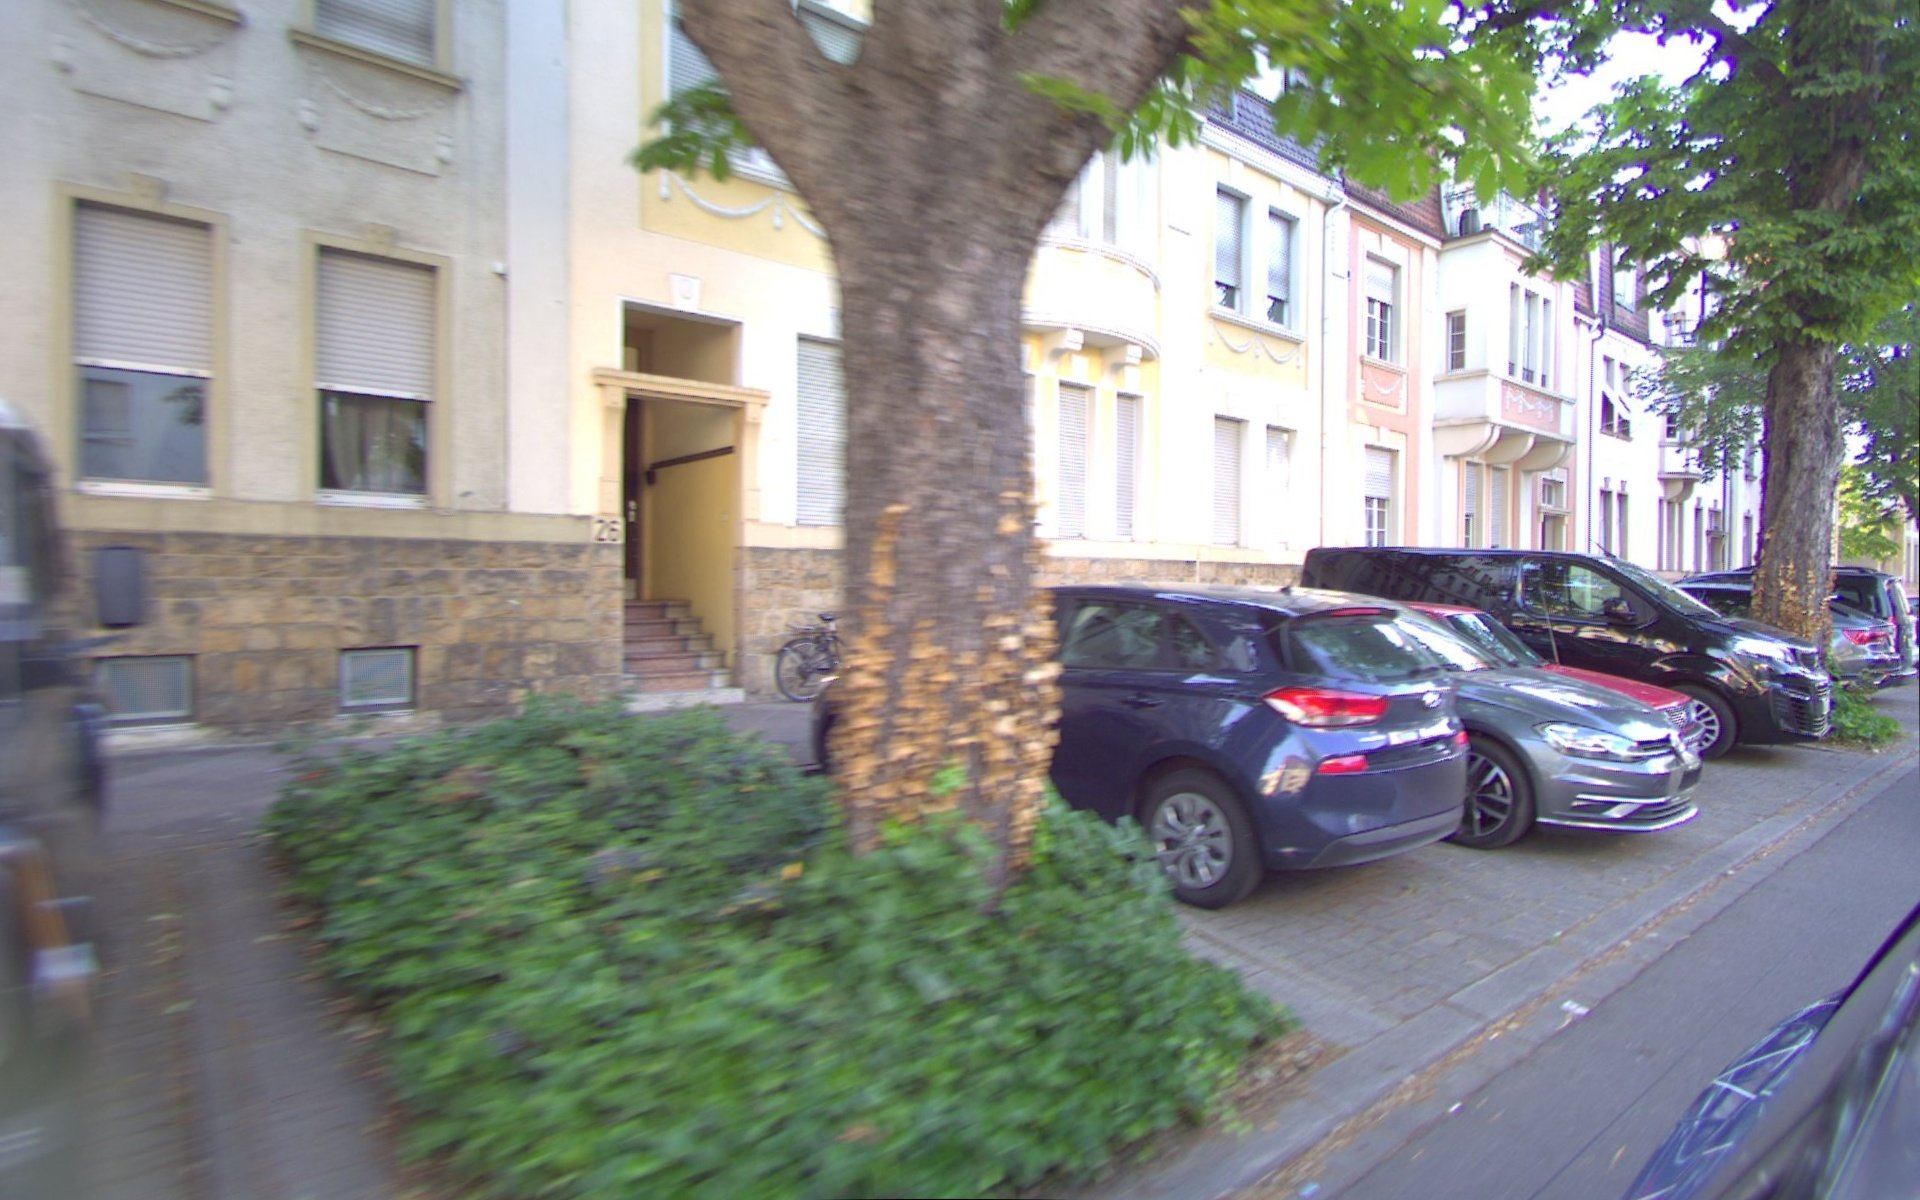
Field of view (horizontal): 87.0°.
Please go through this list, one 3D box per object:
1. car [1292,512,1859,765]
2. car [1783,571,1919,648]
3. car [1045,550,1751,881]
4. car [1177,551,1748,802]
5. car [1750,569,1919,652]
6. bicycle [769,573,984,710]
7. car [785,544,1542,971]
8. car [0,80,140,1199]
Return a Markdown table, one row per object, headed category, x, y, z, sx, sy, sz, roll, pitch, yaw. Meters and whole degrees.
| category | x | y | z | sx | sy | sz | roll | pitch | yaw |
| --- | --- | --- | --- | --- | --- | --- | --- | --- | --- |
| car | 6.129 | 0.300 | 10.587 | 1.966 | 2.039 | 4.704 | -1 | 0 | -41 |
| car | 24.226 | 0.220 | 25.868 | 1.966 | 1.897 | 4.704 | -1 | 0 | -41 |
| car | 2.805 | 0.552 | 7.225 | 1.966 | 1.627 | 4.203 | -1 | 1 | -41 |
| car | 4.284 | 0.509 | 9.147 | 1.966 | 1.709 | 4.203 | -1 | 0 | -41 |
| car | 22.129 | 0.229 | 24.316 | 1.966 | 1.897 | 4.704 | -1 | 0 | -41 |
| bicycle | -0.848 | 0.390 | 10.670 | 2.162 | 1.300 | 0.762 | 0 | 3 | -37 |
| car | 0.887 | 0.594 | 6.143 | 1.939 | 1.649 | 4.203 | -1 | 0 | -41 |
| car | -3.268 | 0.294 | 2.569 | 1.729 | 2.008 | 4.430 | -4 | 4 | -40 |
